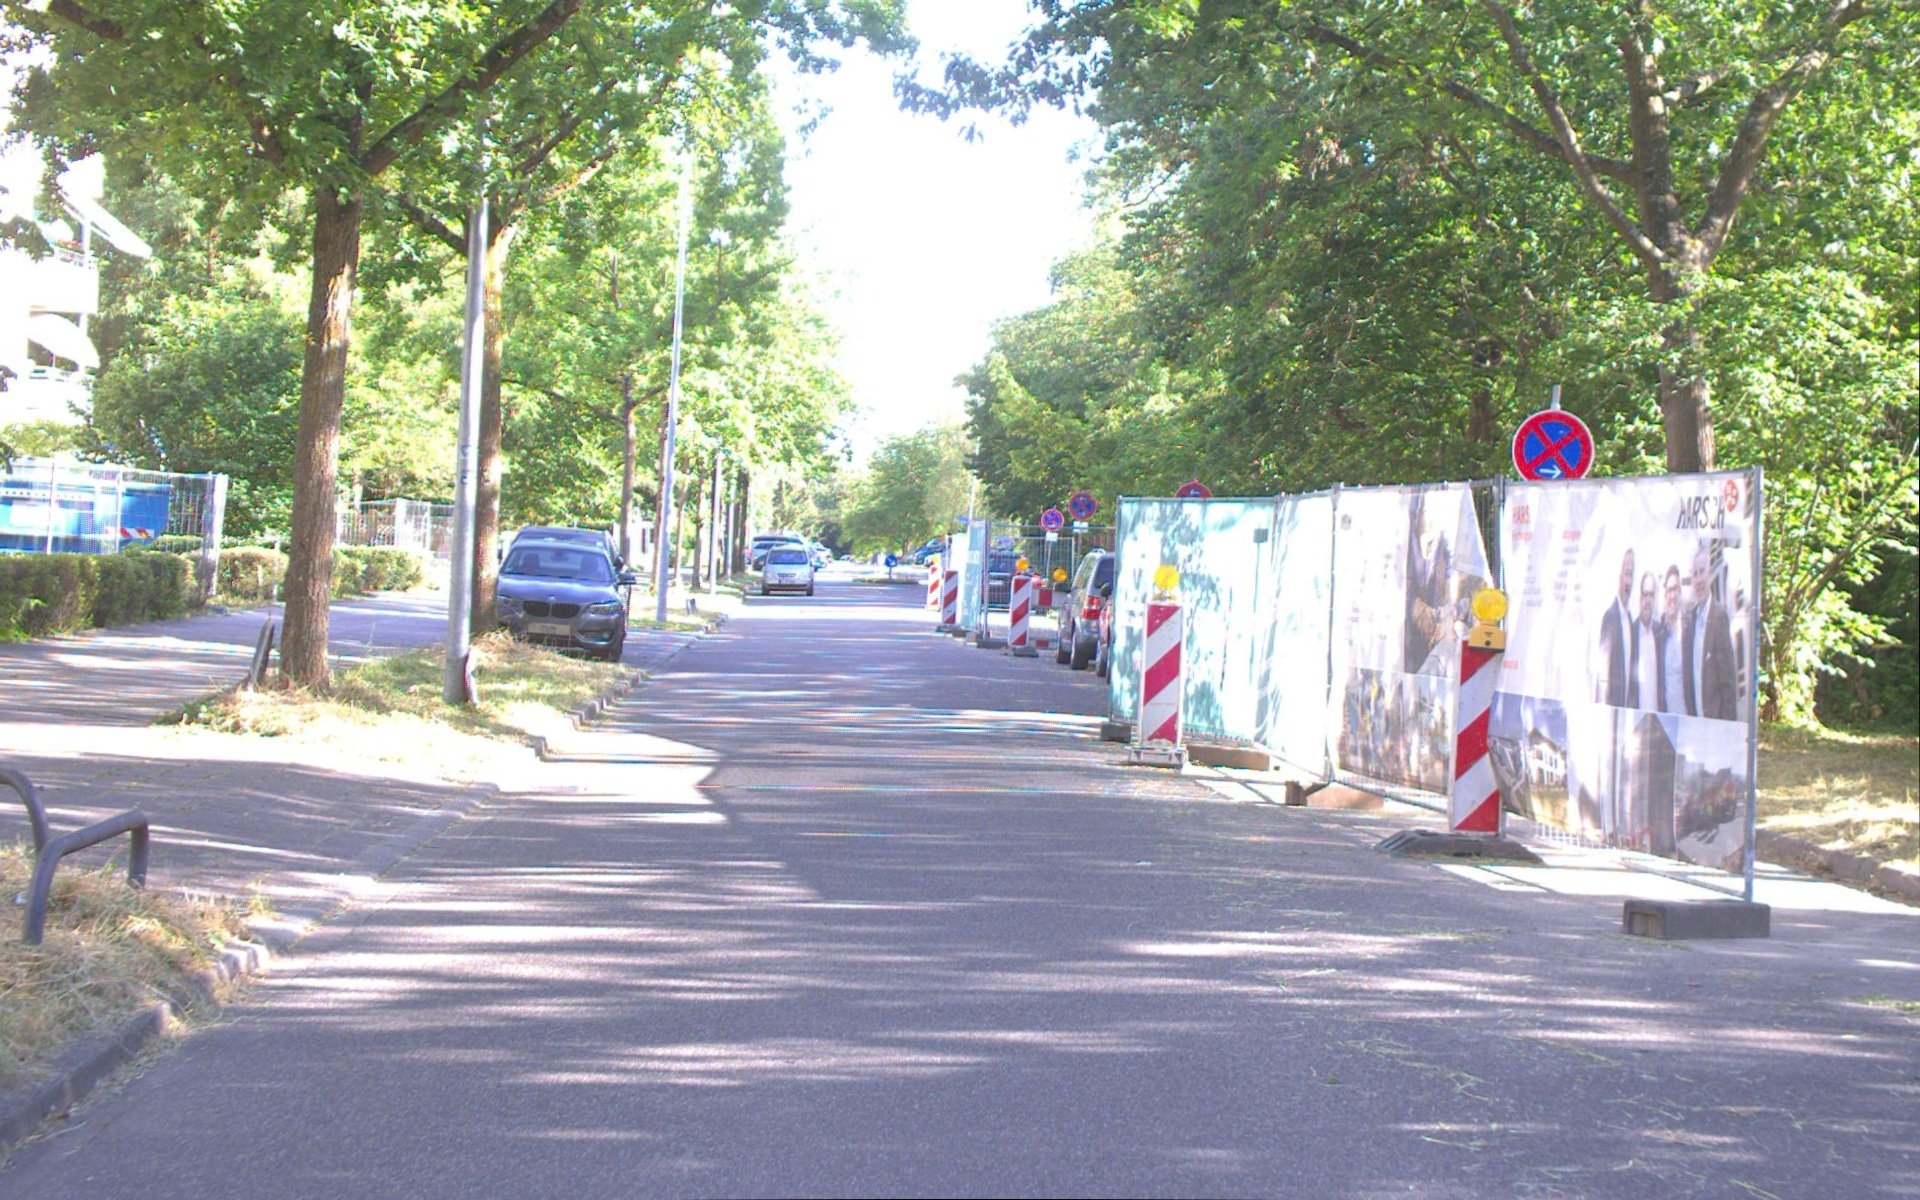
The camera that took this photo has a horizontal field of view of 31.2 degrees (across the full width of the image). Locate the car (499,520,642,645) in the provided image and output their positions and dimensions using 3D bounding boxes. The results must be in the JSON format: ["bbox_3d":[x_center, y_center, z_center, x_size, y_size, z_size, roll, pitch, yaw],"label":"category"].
[{"bbox_3d":[-5.654,-0.276,50.205,1.689,1.669,3.502,3,1,-1],"label":"car"}]

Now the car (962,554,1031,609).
[{"bbox_3d":[0.999,-0.534,96.125,1.794,1.405,4.000,3,1,-1],"label":"car"}]

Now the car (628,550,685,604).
[{"bbox_3d":[-7.952,-0.589,90.247,1.361,1.298,3.482,4,0,-5],"label":"car"}]

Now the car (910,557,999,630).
[{"bbox_3d":[-0.127,-0.126,66.233,1.361,1.298,3.482,4,0,-5],"label":"car"}]

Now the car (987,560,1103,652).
[{"bbox_3d":[1.290,0.080,53.308,1.361,1.298,3.482,4,0,-5],"label":"car"}]

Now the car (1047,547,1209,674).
[{"bbox_3d":[2.277,0.110,47.431,1.753,1.590,3.658,3,1,-4],"label":"car"}]

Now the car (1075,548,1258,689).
[{"bbox_3d":[2.520,0.190,42.758,1.753,1.590,3.658,3,1,-4],"label":"car"}]

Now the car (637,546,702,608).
[{"bbox_3d":[-6.637,-0.527,78.556,1.361,1.298,3.482,4,0,-5],"label":"car"}]

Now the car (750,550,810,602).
[{"bbox_3d":[-6.015,-0.803,114.741,1.710,1.579,4.001,4,0,-6],"label":"car"}]

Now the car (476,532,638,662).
[{"bbox_3d":[-5.022,-0.065,43.222,1.750,1.473,3.837,3,1,-4],"label":"car"}]

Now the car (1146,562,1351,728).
[{"bbox_3d":[2.781,0.405,33.706,1.500,1.473,3.059,3,1,-4],"label":"car"}]
